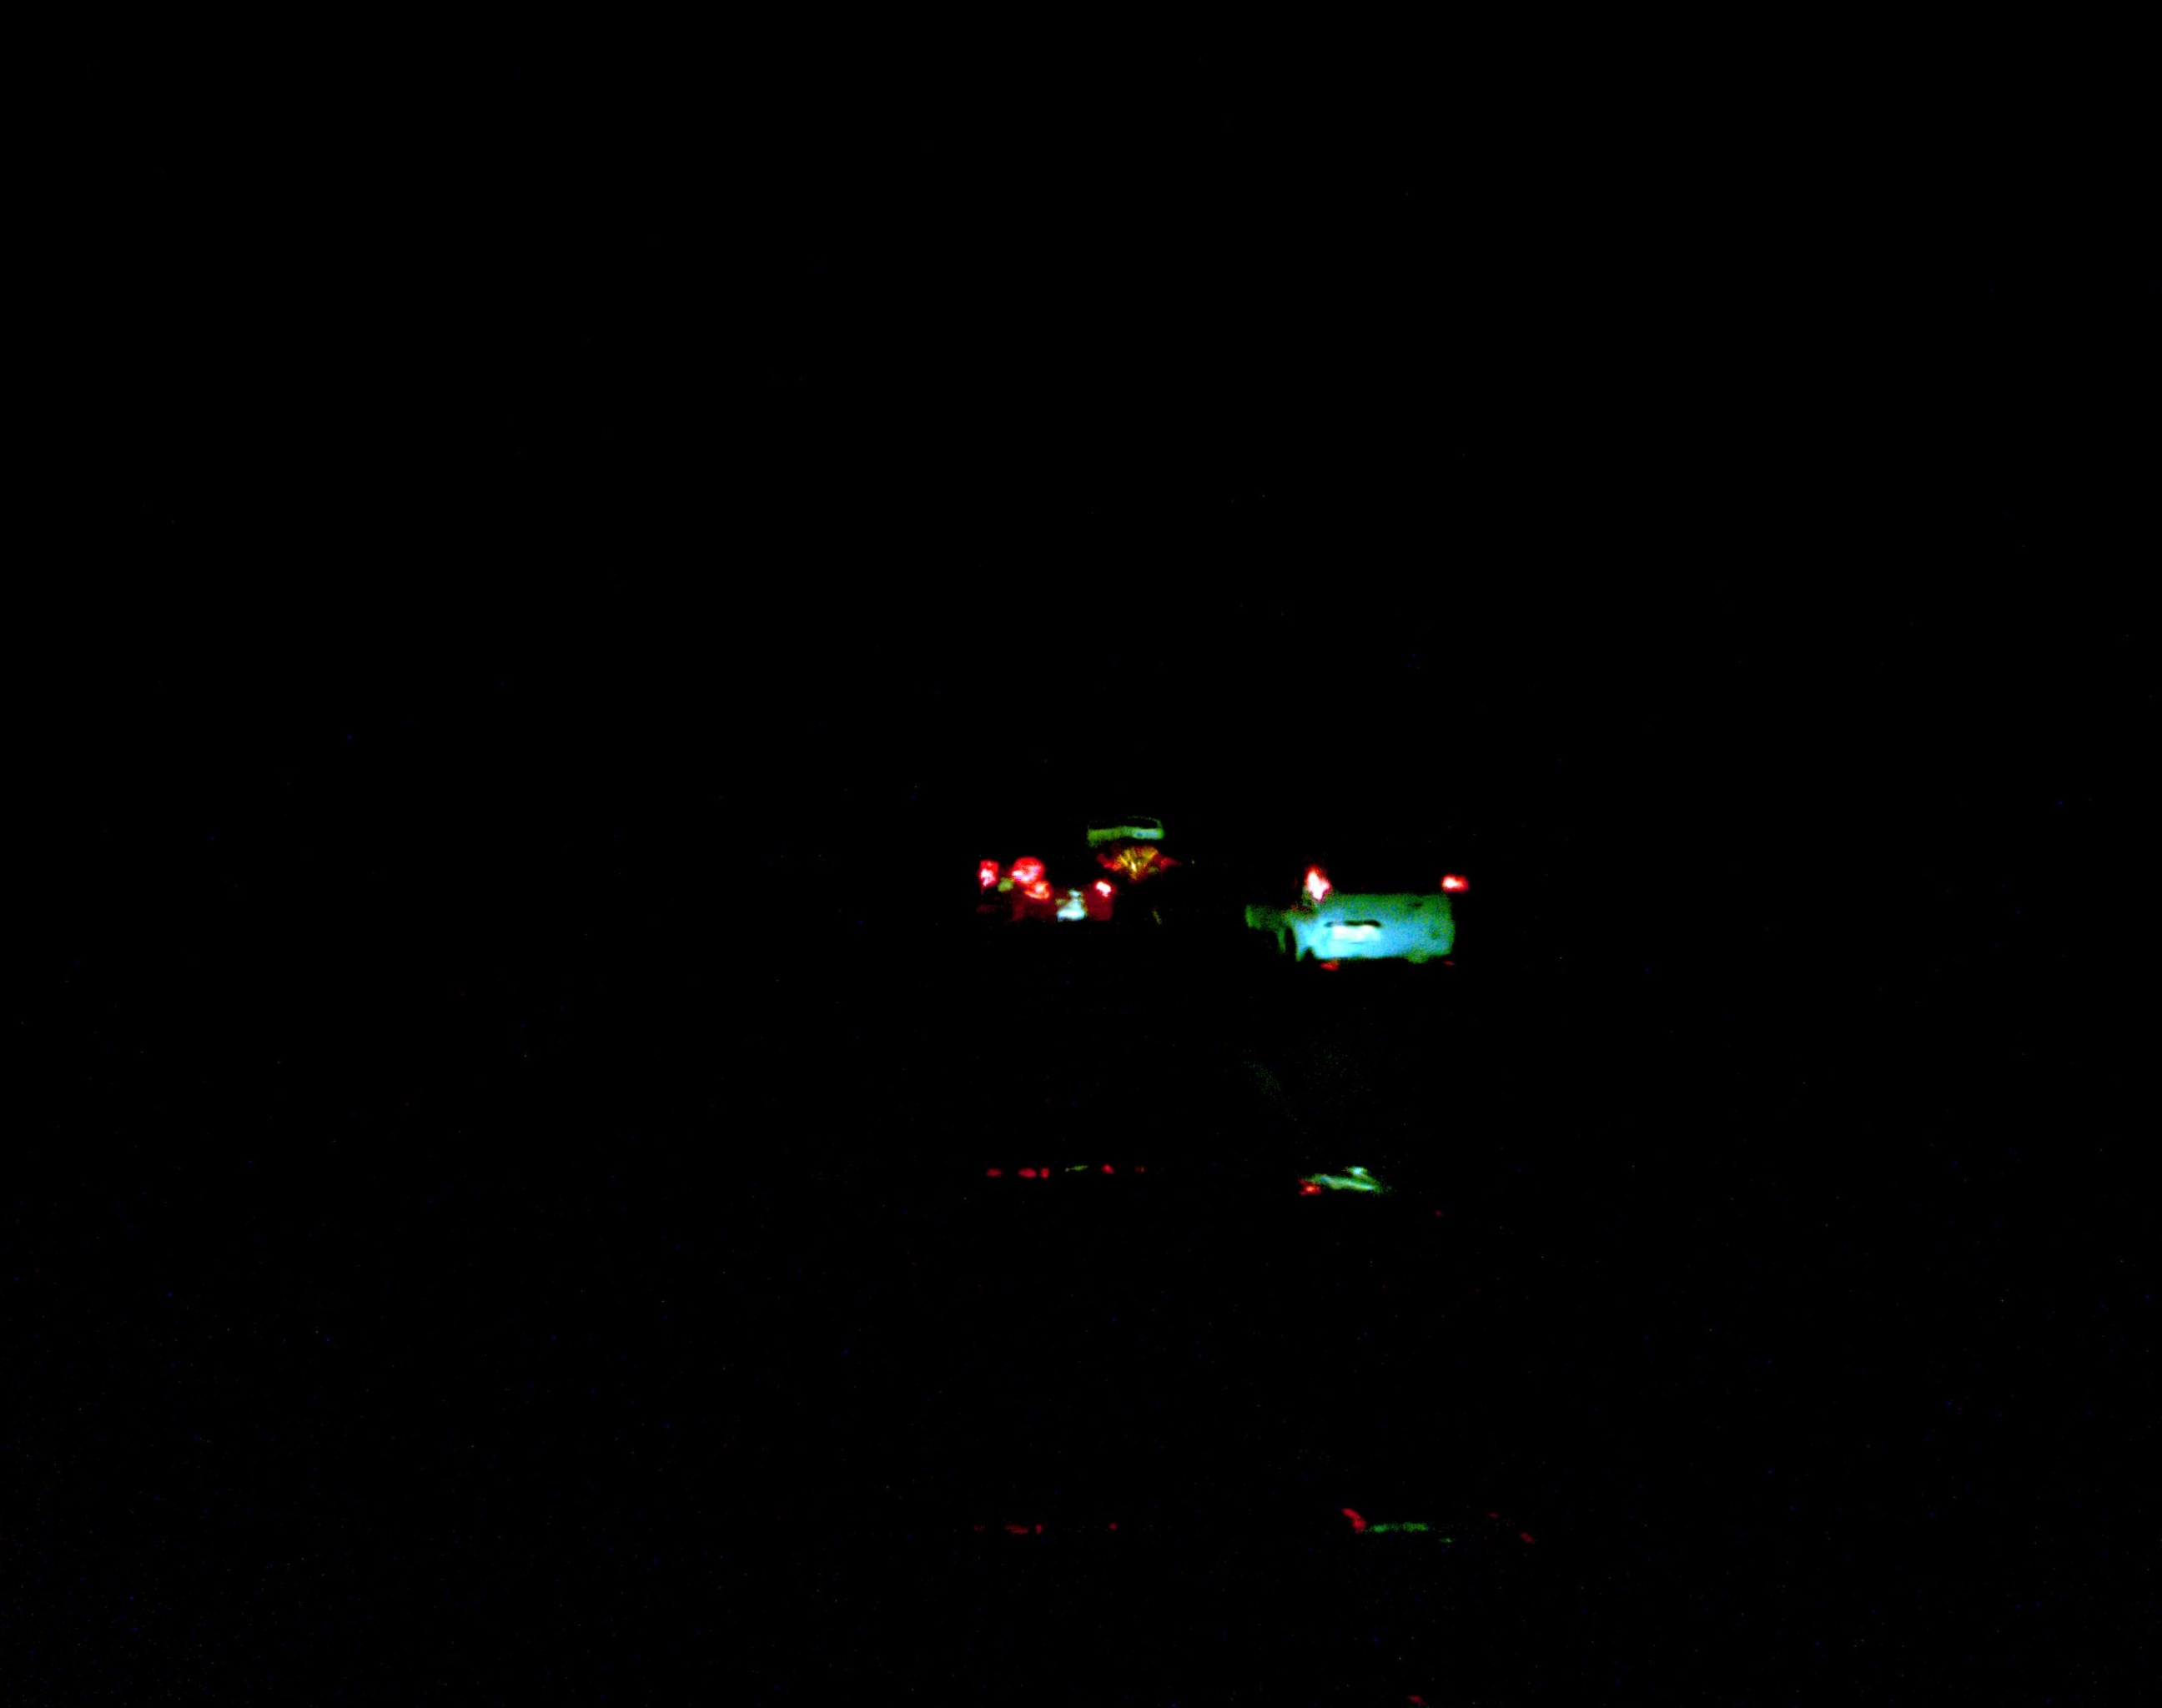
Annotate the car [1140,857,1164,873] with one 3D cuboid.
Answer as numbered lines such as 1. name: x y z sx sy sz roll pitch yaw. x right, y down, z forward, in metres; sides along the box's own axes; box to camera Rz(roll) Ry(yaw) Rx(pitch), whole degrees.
1. car: 6.228 0.976 71.820 1.883 1.354 4.001 0 0 1

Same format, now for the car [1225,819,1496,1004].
1. car: 3.294 0.563 10.851 1.946 1.792 5.127 -3 0 2

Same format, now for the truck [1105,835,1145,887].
1. truck: 5.121 0.864 97.793 4.152 5.544 13.078 -3 -1 2

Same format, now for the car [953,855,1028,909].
1. car: -3.302 1.014 30.785 1.985 1.777 4.890 -3 -1 3

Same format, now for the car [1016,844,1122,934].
1. car: -0.147 0.689 17.477 1.908 1.594 4.235 -3 -1 2
